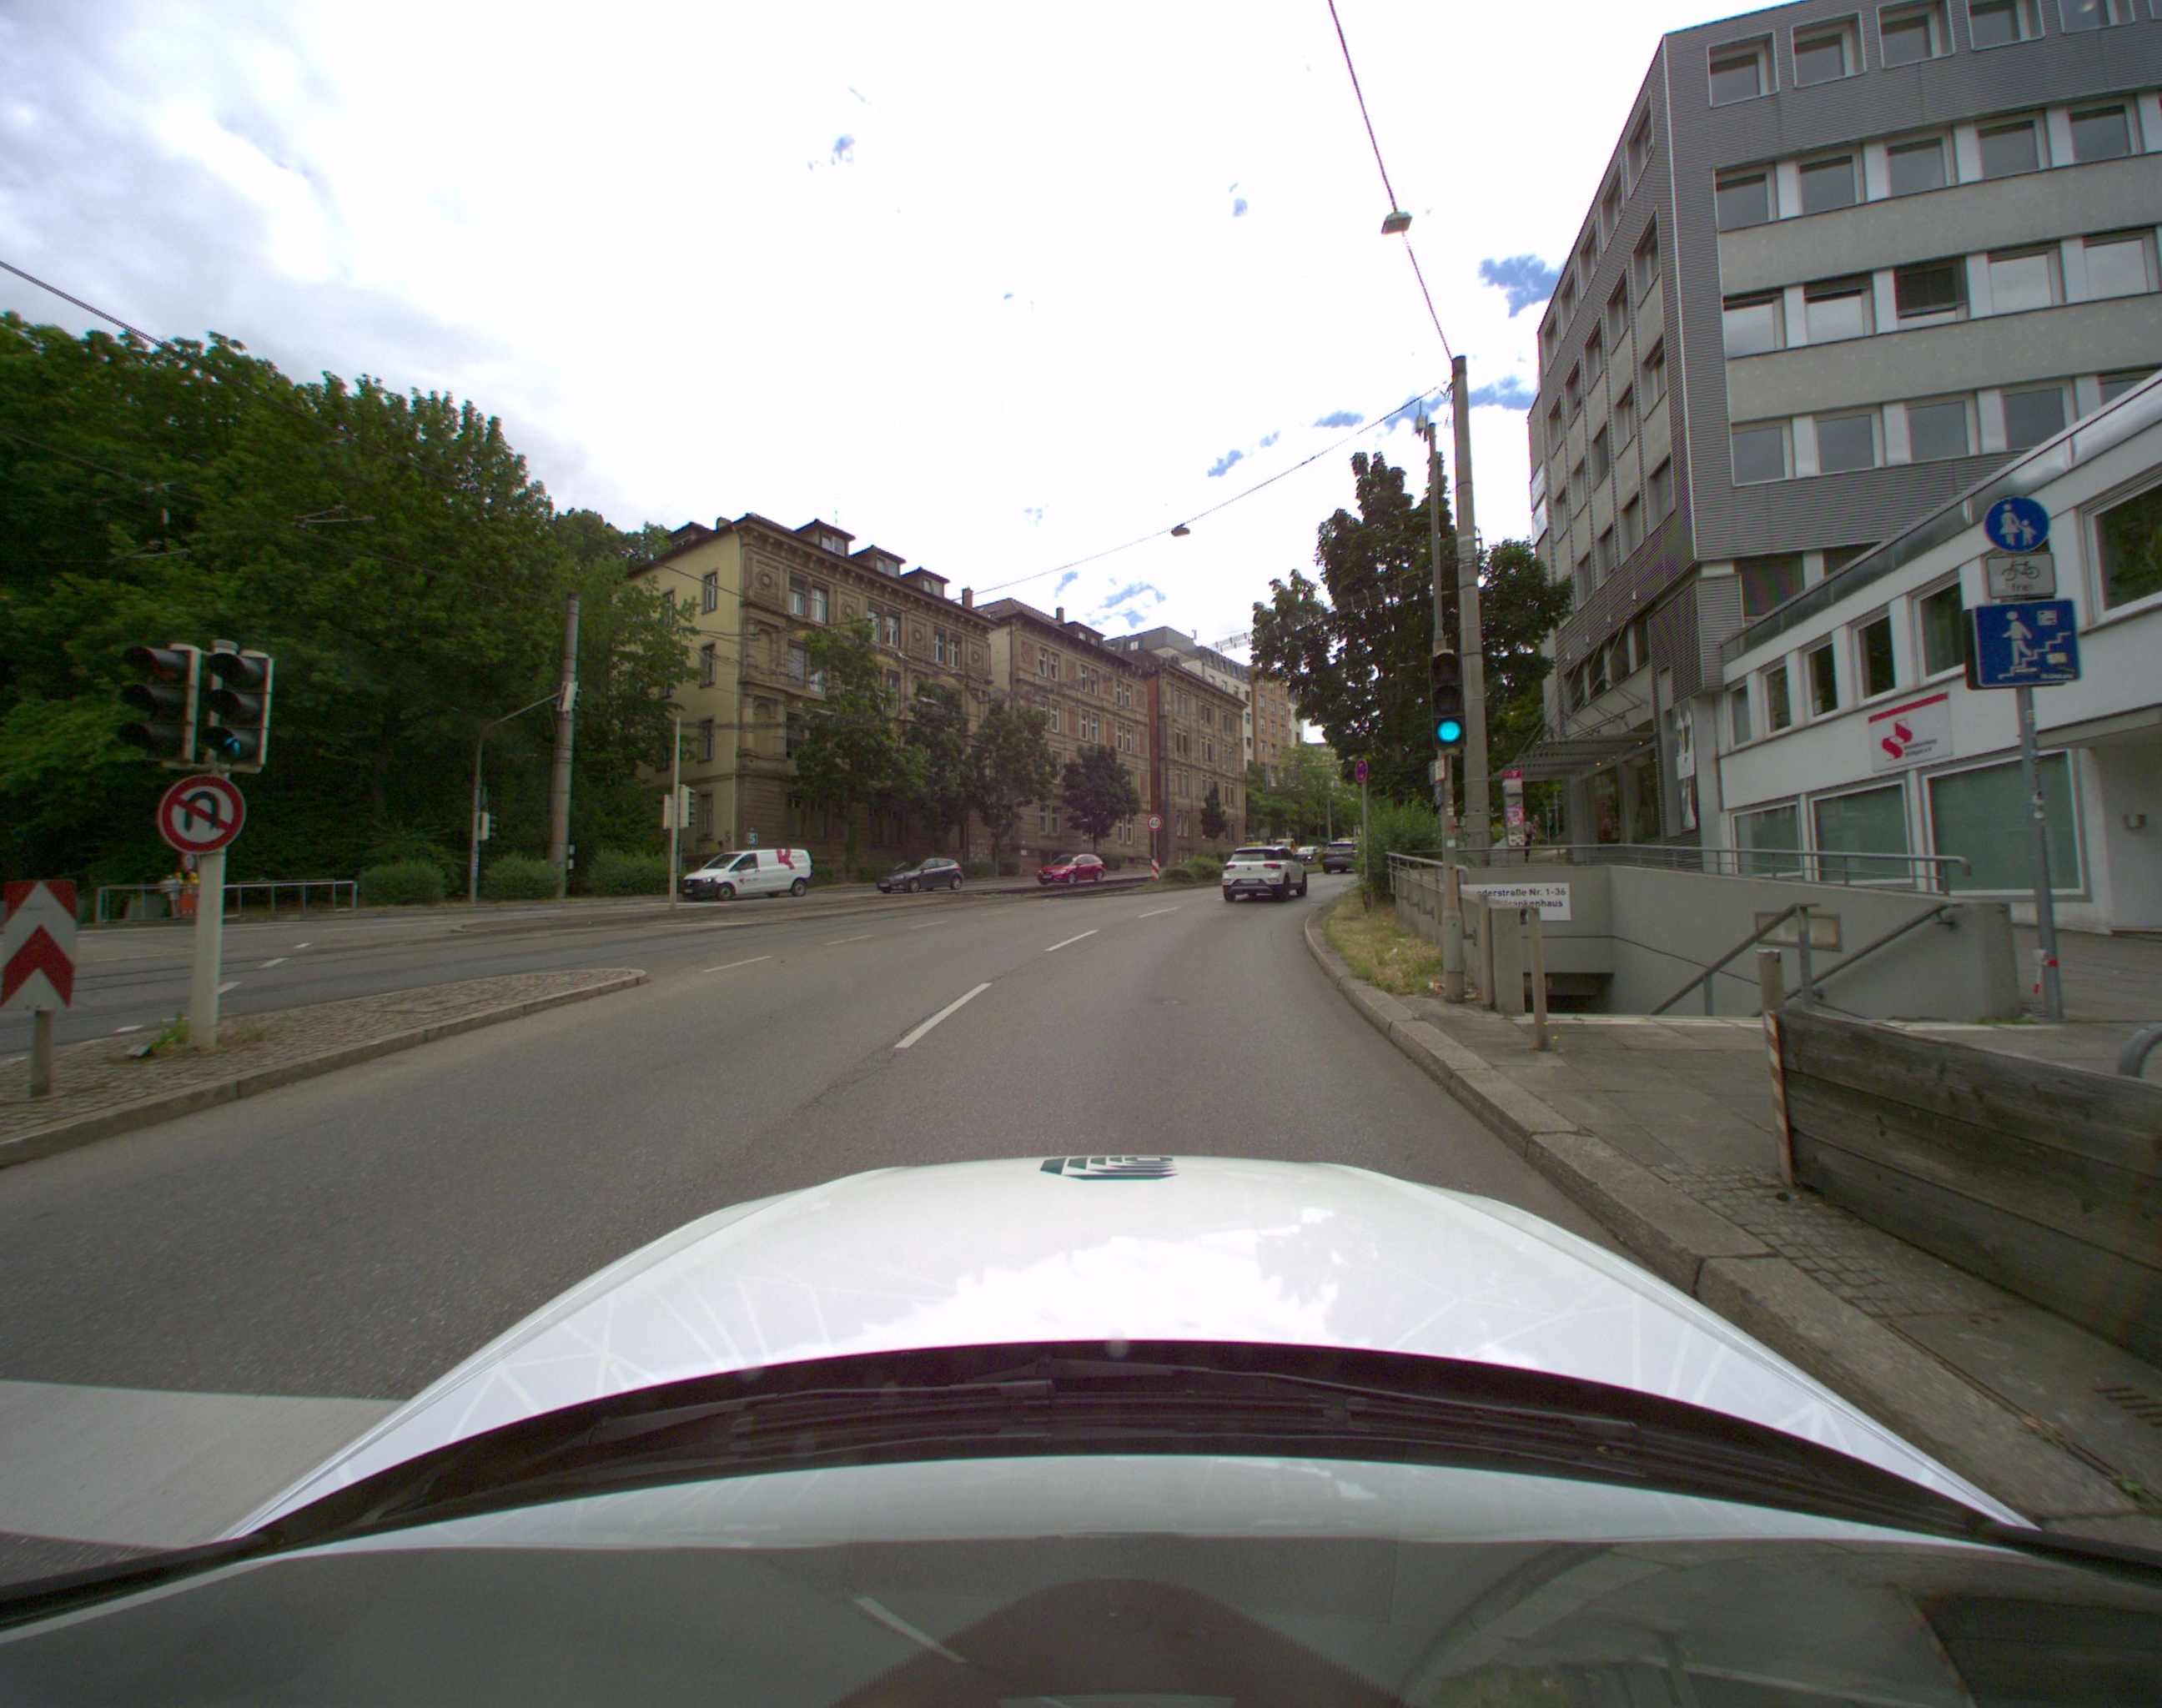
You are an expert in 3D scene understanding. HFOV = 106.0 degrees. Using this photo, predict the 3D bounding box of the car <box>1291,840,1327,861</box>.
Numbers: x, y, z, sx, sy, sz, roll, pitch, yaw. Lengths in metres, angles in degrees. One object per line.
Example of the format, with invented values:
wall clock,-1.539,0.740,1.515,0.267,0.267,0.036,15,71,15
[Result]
car,21.485,-0.378,76.569,1.861,1.788,4.546,-4,-1,33

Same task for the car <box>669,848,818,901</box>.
car,-12.803,0.745,31.254,1.974,1.850,5.024,-3,-1,33

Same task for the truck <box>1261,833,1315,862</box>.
truck,21.314,-0.616,83.728,2.891,2.508,7.198,7,3,34

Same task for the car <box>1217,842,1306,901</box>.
car,5.397,0.456,23.919,1.921,1.566,4.067,0,0,22

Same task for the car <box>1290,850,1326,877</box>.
car,21.311,0.886,76.442,1.801,1.452,4.972,0,-14,33

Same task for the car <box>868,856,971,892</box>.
car,-6.919,0.832,35.253,1.725,1.427,4.434,-1,-1,34

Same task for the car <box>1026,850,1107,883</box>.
car,-0.649,0.615,40.889,1.974,1.519,4.433,-1,-1,32

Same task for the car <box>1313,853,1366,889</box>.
car,12.328,0.814,38.698,1.885,1.574,3.856,1,-1,26

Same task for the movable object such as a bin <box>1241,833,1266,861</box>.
movable object such as a bin,18.511,-0.751,87.210,1.974,2.838,2.042,-3,-1,28

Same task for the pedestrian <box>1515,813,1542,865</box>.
pedestrian,15.696,-0.529,28.559,0.668,1.794,0.611,-1,0,14

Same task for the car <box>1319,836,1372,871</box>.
car,14.036,-0.017,43.129,1.822,1.740,4.025,-2,-1,30
